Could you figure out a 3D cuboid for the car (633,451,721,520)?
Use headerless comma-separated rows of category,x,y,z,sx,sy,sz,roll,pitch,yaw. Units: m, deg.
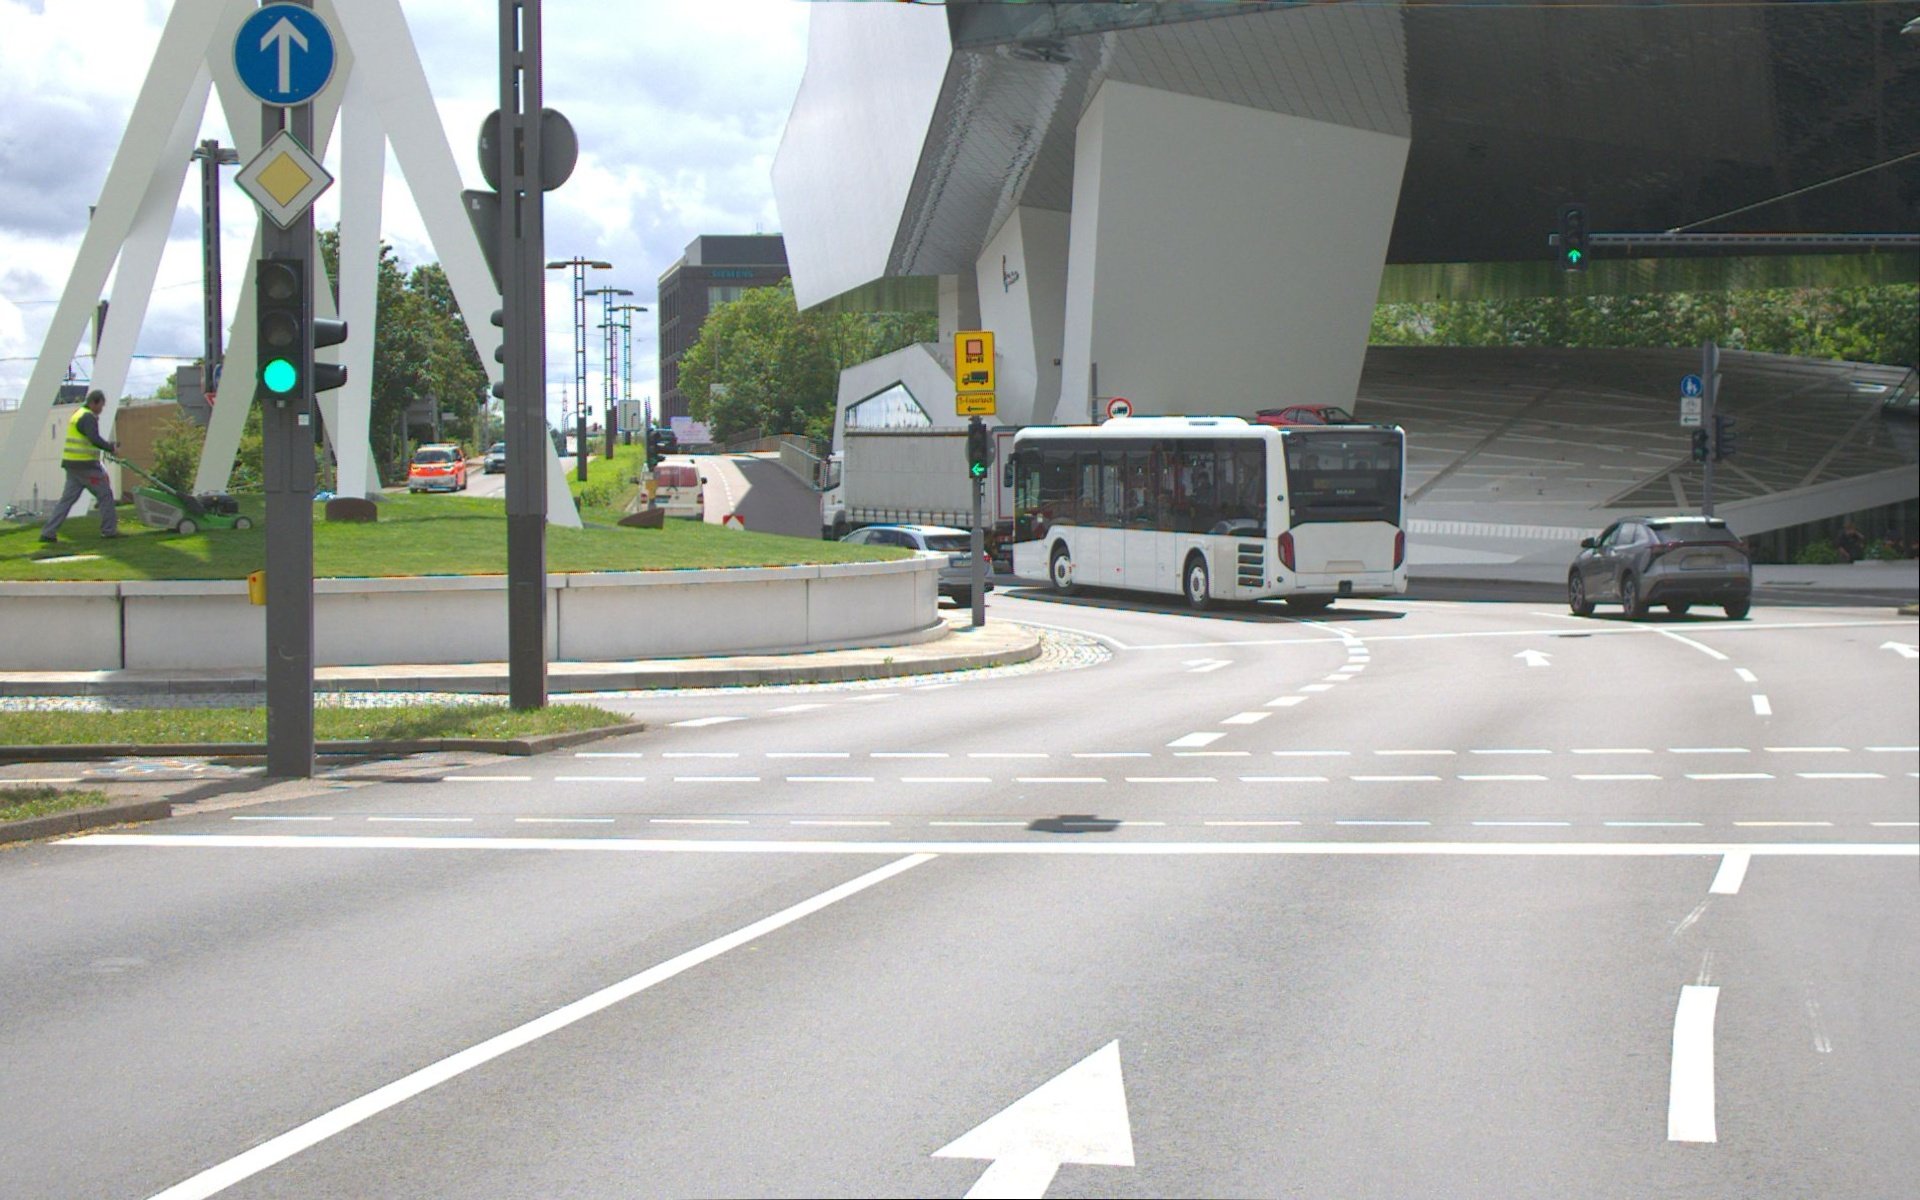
car,-8.200,-3.288,99.406,1.993,1.897,4.001,1,1,-12

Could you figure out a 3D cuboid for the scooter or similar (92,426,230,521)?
scooter or similar,-8.997,-1.424,38.708,1.400,1.022,0.550,-2,2,-23

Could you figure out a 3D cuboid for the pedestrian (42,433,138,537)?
pedestrian,-12.639,-1.659,49.954,0.853,1.402,0.964,-6,-2,18

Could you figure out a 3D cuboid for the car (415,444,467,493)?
car,-21.805,-5.539,144.262,1.993,1.976,4.839,-1,3,-10

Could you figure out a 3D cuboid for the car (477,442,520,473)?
car,-23.064,-7.133,171.860,1.755,1.393,4.675,1,4,-3

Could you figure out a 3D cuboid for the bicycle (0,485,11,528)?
bicycle,-27.570,-2.640,96.396,1.737,1.178,0.670,1,2,-5

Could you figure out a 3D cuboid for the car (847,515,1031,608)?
car,-0.428,-0.718,63.439,1.993,1.631,4.001,1,1,-23

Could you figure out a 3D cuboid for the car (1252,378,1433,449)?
car,10.405,-5.106,93.717,4.510,1.390,1.995,10,12,42

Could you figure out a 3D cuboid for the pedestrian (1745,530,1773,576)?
pedestrian,21.566,-1.267,92.803,0.561,1.248,0.473,1,1,36

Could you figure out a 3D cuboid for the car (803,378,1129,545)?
car,-0.027,-3.033,78.036,3.335,3.492,9.343,1,1,-28

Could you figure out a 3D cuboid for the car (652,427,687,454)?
car,-17.913,-9.860,212.168,1.993,1.630,4.657,1,3,-3

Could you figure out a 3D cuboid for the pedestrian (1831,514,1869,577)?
pedestrian,22.377,-1.368,86.410,0.828,1.567,0.922,1,0,18

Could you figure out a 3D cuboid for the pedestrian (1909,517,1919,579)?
pedestrian,24.454,-1.311,86.593,0.691,1.567,0.795,1,1,-43

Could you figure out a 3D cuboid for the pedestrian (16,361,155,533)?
pedestrian,-9.770,-1.725,38.391,1.281,1.810,0.987,-5,6,-20

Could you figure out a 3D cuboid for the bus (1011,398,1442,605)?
bus,4.519,-1.707,62.505,3.071,3.350,12.227,1,1,-19

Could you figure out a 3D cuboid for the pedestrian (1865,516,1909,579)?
pedestrian,23.515,-1.333,87.213,0.921,1.567,0.829,1,1,25

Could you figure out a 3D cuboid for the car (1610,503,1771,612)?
car,11.435,-0.679,54.063,1.994,1.631,3.999,0,1,5

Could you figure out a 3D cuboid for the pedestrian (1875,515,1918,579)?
pedestrian,23.438,-1.322,86.052,0.921,1.567,0.829,1,0,23

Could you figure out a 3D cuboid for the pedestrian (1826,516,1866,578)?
pedestrian,22.583,-1.353,87.576,0.829,1.567,0.922,1,1,23
